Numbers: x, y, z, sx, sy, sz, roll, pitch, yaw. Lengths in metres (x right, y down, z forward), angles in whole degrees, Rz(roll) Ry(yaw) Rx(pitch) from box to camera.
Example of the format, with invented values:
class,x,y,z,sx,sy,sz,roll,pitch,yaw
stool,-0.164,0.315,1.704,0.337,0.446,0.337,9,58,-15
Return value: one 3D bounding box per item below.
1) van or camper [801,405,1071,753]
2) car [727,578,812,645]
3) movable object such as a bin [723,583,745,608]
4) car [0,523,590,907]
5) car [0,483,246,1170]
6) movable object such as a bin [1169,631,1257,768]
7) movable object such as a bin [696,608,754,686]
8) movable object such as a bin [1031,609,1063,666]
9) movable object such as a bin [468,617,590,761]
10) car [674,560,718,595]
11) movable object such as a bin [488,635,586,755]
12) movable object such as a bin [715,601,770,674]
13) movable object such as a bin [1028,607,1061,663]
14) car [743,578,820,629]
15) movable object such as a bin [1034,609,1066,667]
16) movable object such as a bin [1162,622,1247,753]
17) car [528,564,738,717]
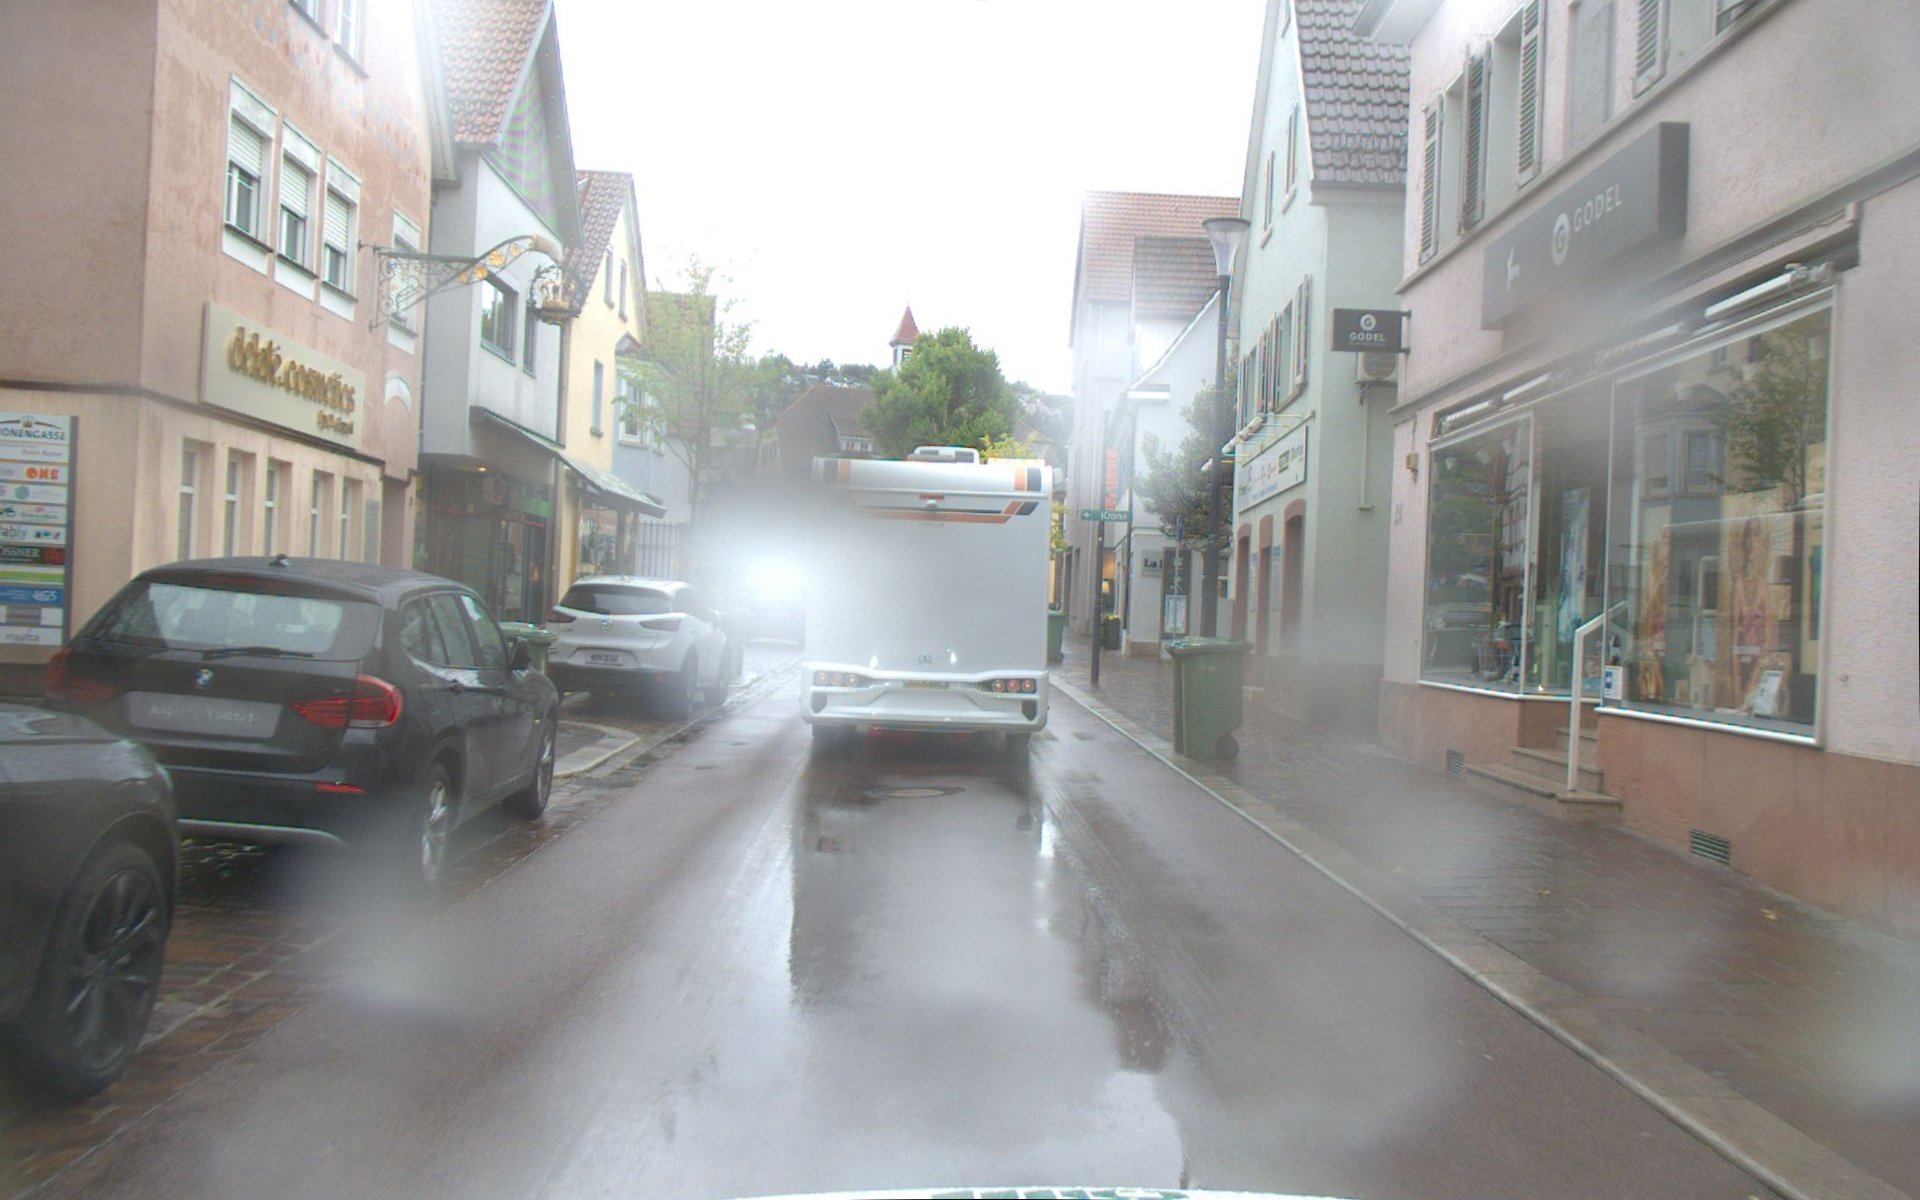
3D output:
class,x,y,z,sx,sy,sz,roll,pitch,yaw
van or camper,-0.425,-0.146,17.680,2.280,2.970,6.387,2,-1,-4
car,-4.798,0.258,41.622,1.956,1.497,3.994,3,0,-7
movable object such as a bin,-9.798,-0.186,71.658,0.805,1.069,0.696,2,-1,-17
car,-3.379,0.514,9.167,1.796,1.579,4.279,2,-1,-2
car,-3.232,0.528,3.217,1.796,1.704,4.538,2,-1,-2
movable object such as a bin,2.347,0.915,15.389,0.704,1.222,0.573,2,-1,0
movable object such as a bin,-3.510,0.696,24.720,0.799,1.125,0.609,2,-1,-6
movable object such as a bin,1.988,0.855,37.705,0.645,1.267,0.542,2,-1,-2
movable object such as a bin,-3.455,0.700,13.314,0.732,1.101,0.763,2,-1,1
car,-16.482,-1.367,103.094,1.964,2.049,3.977,2,-1,-19
movable object such as a bin,-3.586,0.800,14.042,0.643,0.972,0.562,2,-1,1
movable object such as a bin,-3.611,0.617,27.483,0.799,1.125,0.609,5,-1,-6
movable object such as a bin,1.951,0.805,38.259,0.664,1.278,0.542,2,-1,-2
car,-6.178,0.094,56.856,1.961,1.520,3.984,4,0,-15
movable object such as a bin,2.016,0.852,37.119,0.645,1.260,0.621,2,-1,-2
movable object such as a bin,2.354,0.835,15.966,0.704,1.222,0.578,2,-1,0
car,-3.800,0.463,19.884,1.790,1.594,3.998,2,-1,-2
